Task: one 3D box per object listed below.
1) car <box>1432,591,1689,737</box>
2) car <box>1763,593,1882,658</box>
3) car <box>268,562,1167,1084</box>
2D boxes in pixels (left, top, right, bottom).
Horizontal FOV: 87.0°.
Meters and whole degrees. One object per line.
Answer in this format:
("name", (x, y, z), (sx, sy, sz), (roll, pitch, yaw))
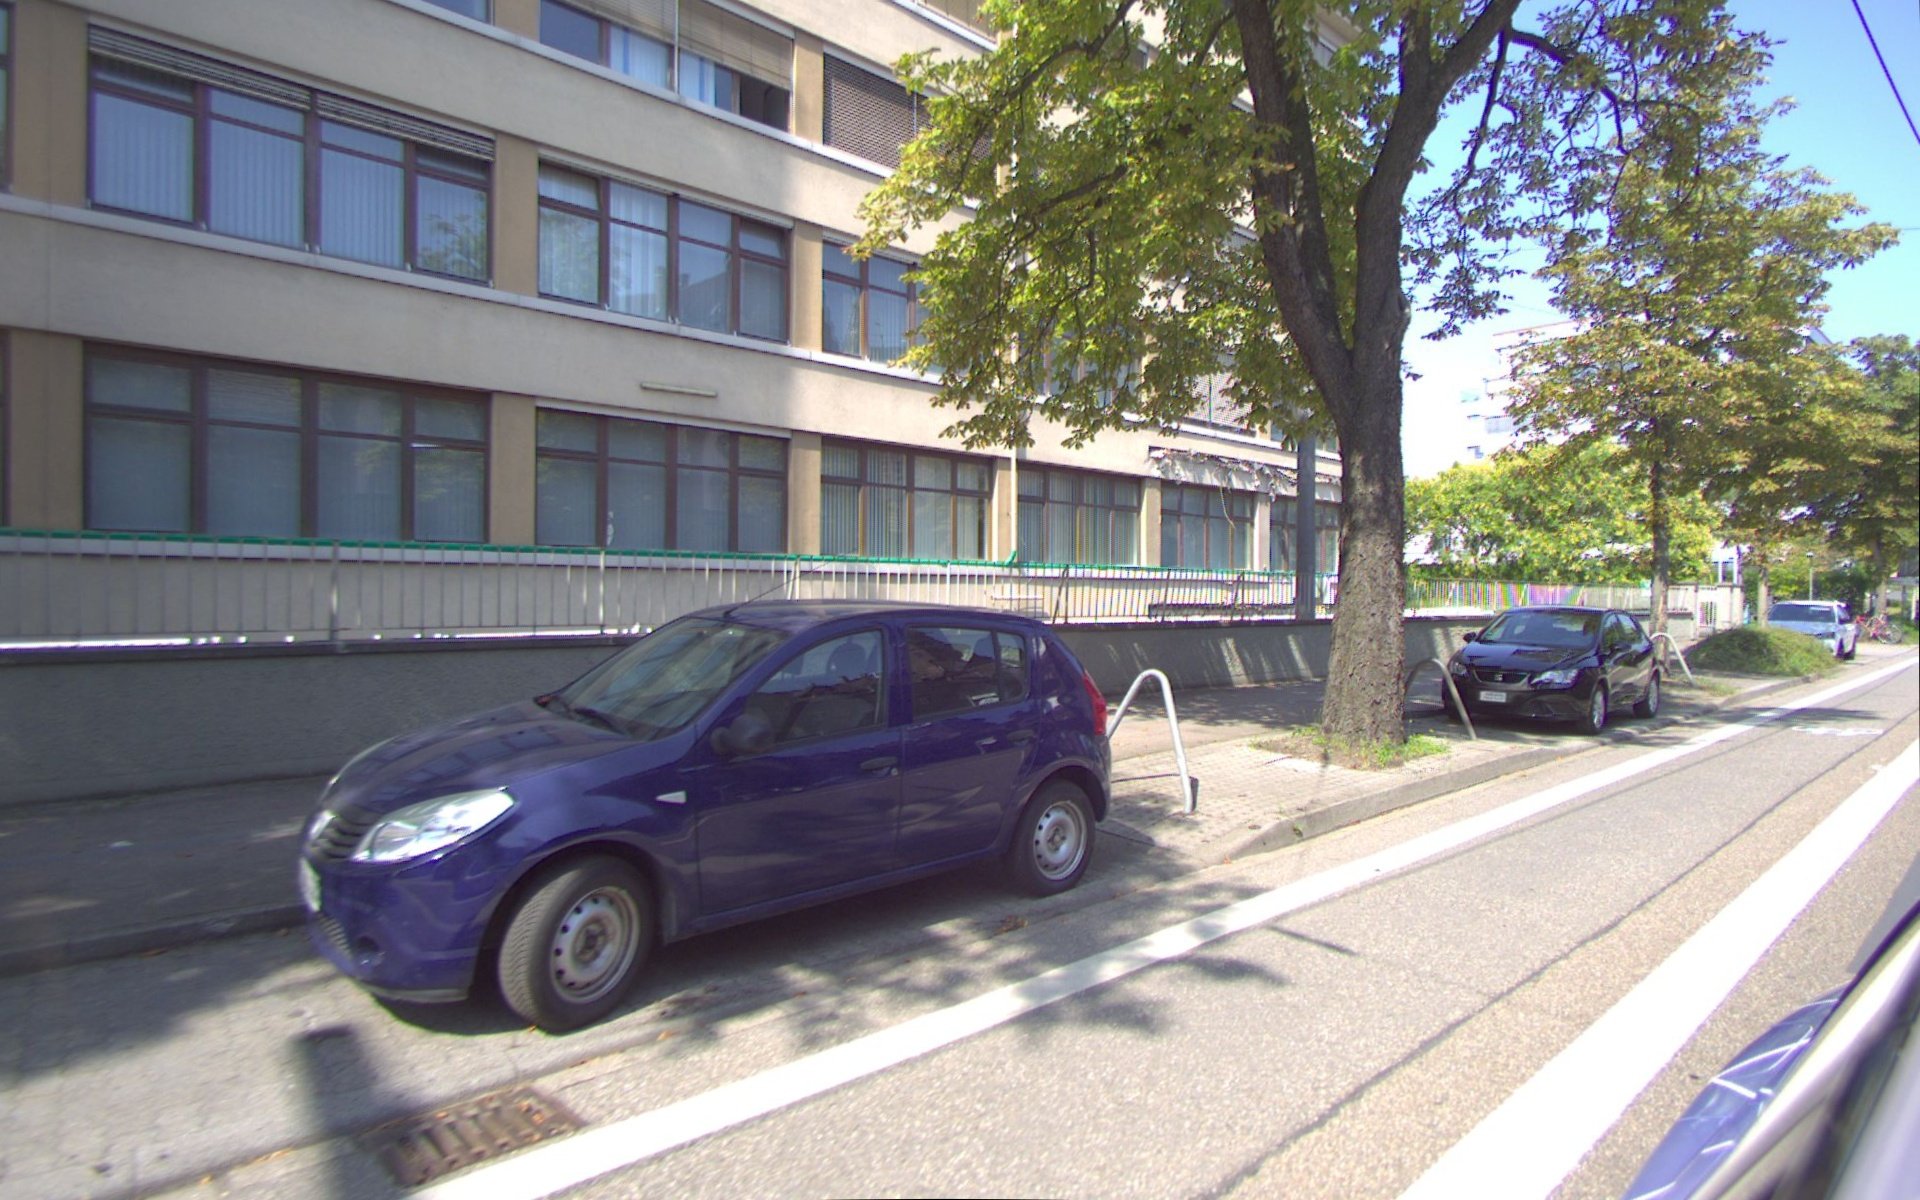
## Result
("car", (7.596, 0.663, 12.652), (3.925, 1.491, 1.641), (0, 3, -42))
("car", (21.288, 0.569, 24.931), (3.809, 1.492, 1.641), (0, 0, -40))
("car", (-0.910, 0.678, 5.018), (4.011, 1.590, 1.644), (1, 1, -40))
